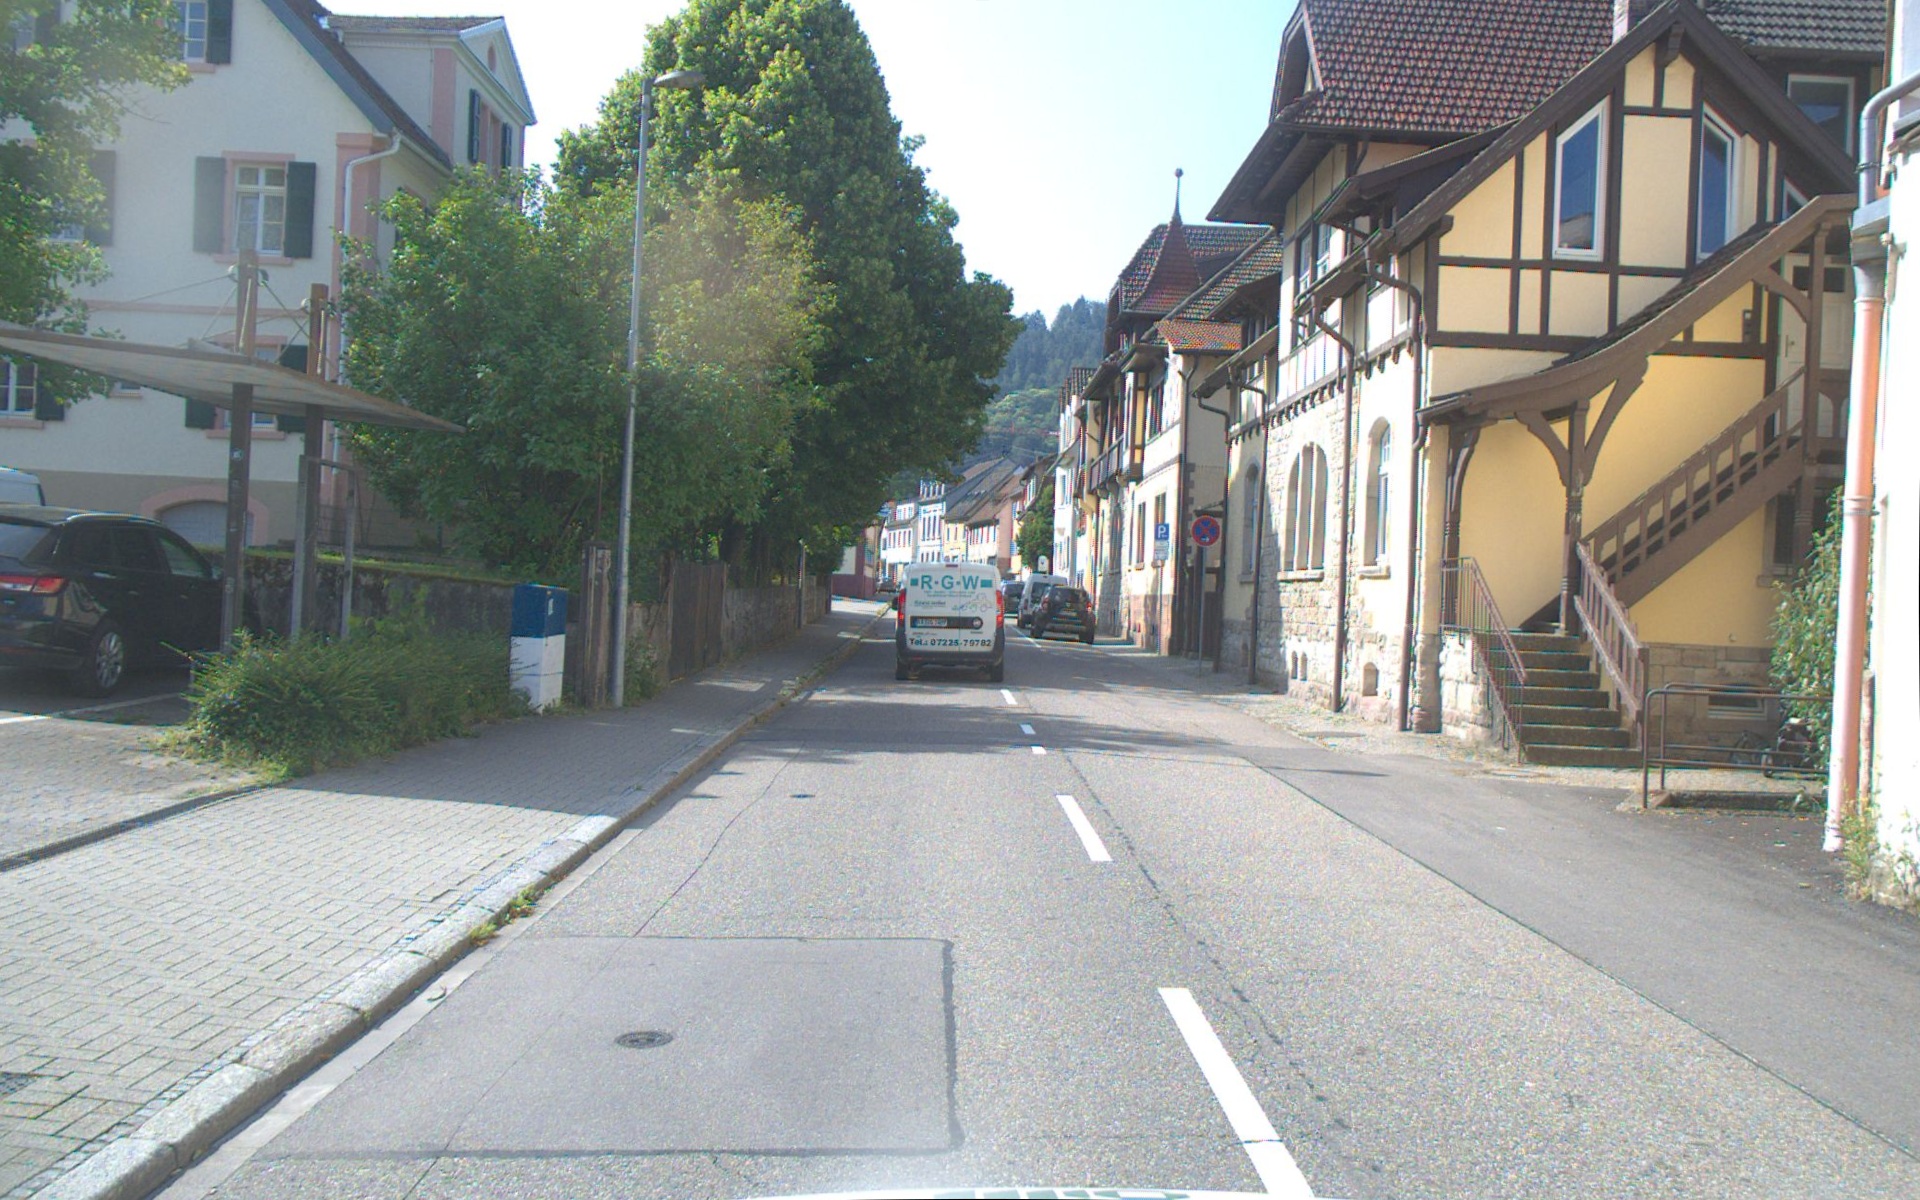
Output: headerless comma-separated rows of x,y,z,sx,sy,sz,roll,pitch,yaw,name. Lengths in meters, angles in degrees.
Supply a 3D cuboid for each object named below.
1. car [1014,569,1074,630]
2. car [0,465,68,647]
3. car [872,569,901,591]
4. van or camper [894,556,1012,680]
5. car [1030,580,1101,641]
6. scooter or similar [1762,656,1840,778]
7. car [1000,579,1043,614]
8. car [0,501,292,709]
3.048,-0.044,60.566,1.833,2.048,3.999,3,0,-1,car
-10.338,-0.502,15.160,1.787,1.802,4.680,6,0,-3,car
-7.037,-1.945,157.401,1.959,1.813,3.988,4,1,-13,car
-0.173,0.259,27.576,1.791,1.876,4.187,1,0,-2,van or camper
3.181,0.284,50.461,1.774,1.624,3.926,5,1,0,car
8.055,1.098,15.825,0.609,1.082,1.009,2,0,29,scooter or similar
2.835,-0.188,77.078,1.636,1.534,3.998,2,0,-3,car
-7.501,-0.048,14.348,1.583,1.487,4.394,5,1,-1,car
